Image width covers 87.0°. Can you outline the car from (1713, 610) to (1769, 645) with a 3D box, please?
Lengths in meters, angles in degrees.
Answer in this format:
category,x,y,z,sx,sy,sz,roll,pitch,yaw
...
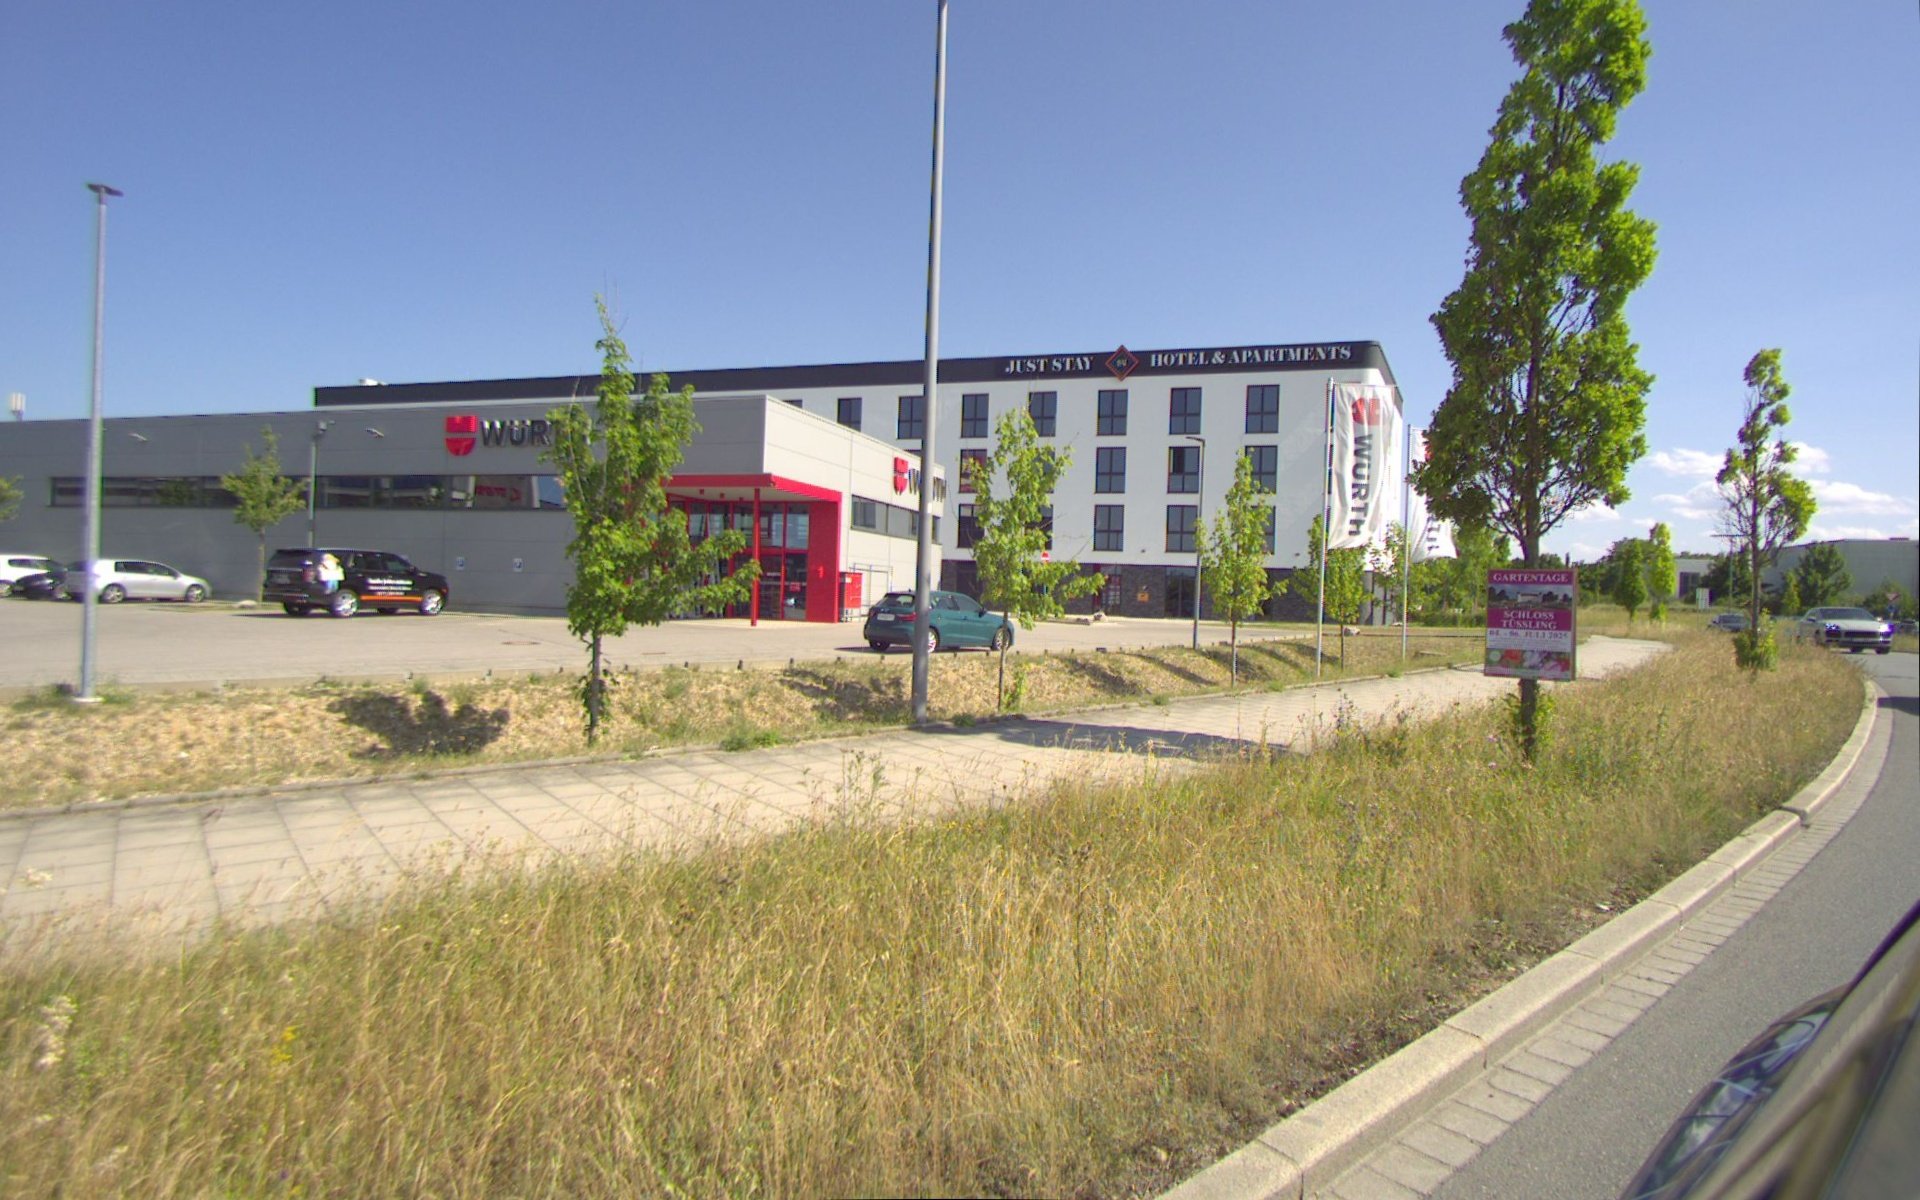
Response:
category,x,y,z,sx,sy,sz,roll,pitch,yaw
car,41.933,1.427,54.426,1.743,1.709,4.335,2,1,30

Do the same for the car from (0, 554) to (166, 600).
category,x,y,z,sx,sy,sz,roll,pitch,yaw
car,-30.318,-0.773,35.132,1.679,1.480,4.086,1,1,18

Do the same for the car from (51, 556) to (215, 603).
category,x,y,z,sx,sy,sz,roll,pitch,yaw
car,-27.998,-0.674,34.439,1.679,1.480,4.086,1,1,18

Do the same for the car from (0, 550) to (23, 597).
category,x,y,z,sx,sy,sz,roll,pitch,yaw
car,-37.588,-1.010,37.378,1.679,1.779,4.086,1,1,18

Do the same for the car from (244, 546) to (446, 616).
category,x,y,z,sx,sy,sz,roll,pitch,yaw
car,-17.825,-0.527,29.665,2.023,1.838,4.893,2,1,19

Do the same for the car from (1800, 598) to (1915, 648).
category,x,y,z,sx,sy,sz,roll,pitch,yaw
car,32.680,0.856,37.030,2.097,1.664,4.728,1,-1,28

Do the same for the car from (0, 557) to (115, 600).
category,x,y,z,sx,sy,sz,roll,pitch,yaw
car,-33.163,-0.772,36.334,1.679,1.480,4.086,1,1,18

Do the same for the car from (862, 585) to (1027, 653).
category,x,y,z,sx,sy,sz,roll,pitch,yaw
car,-0.288,0.412,23.469,1.513,1.425,3.938,2,1,43
